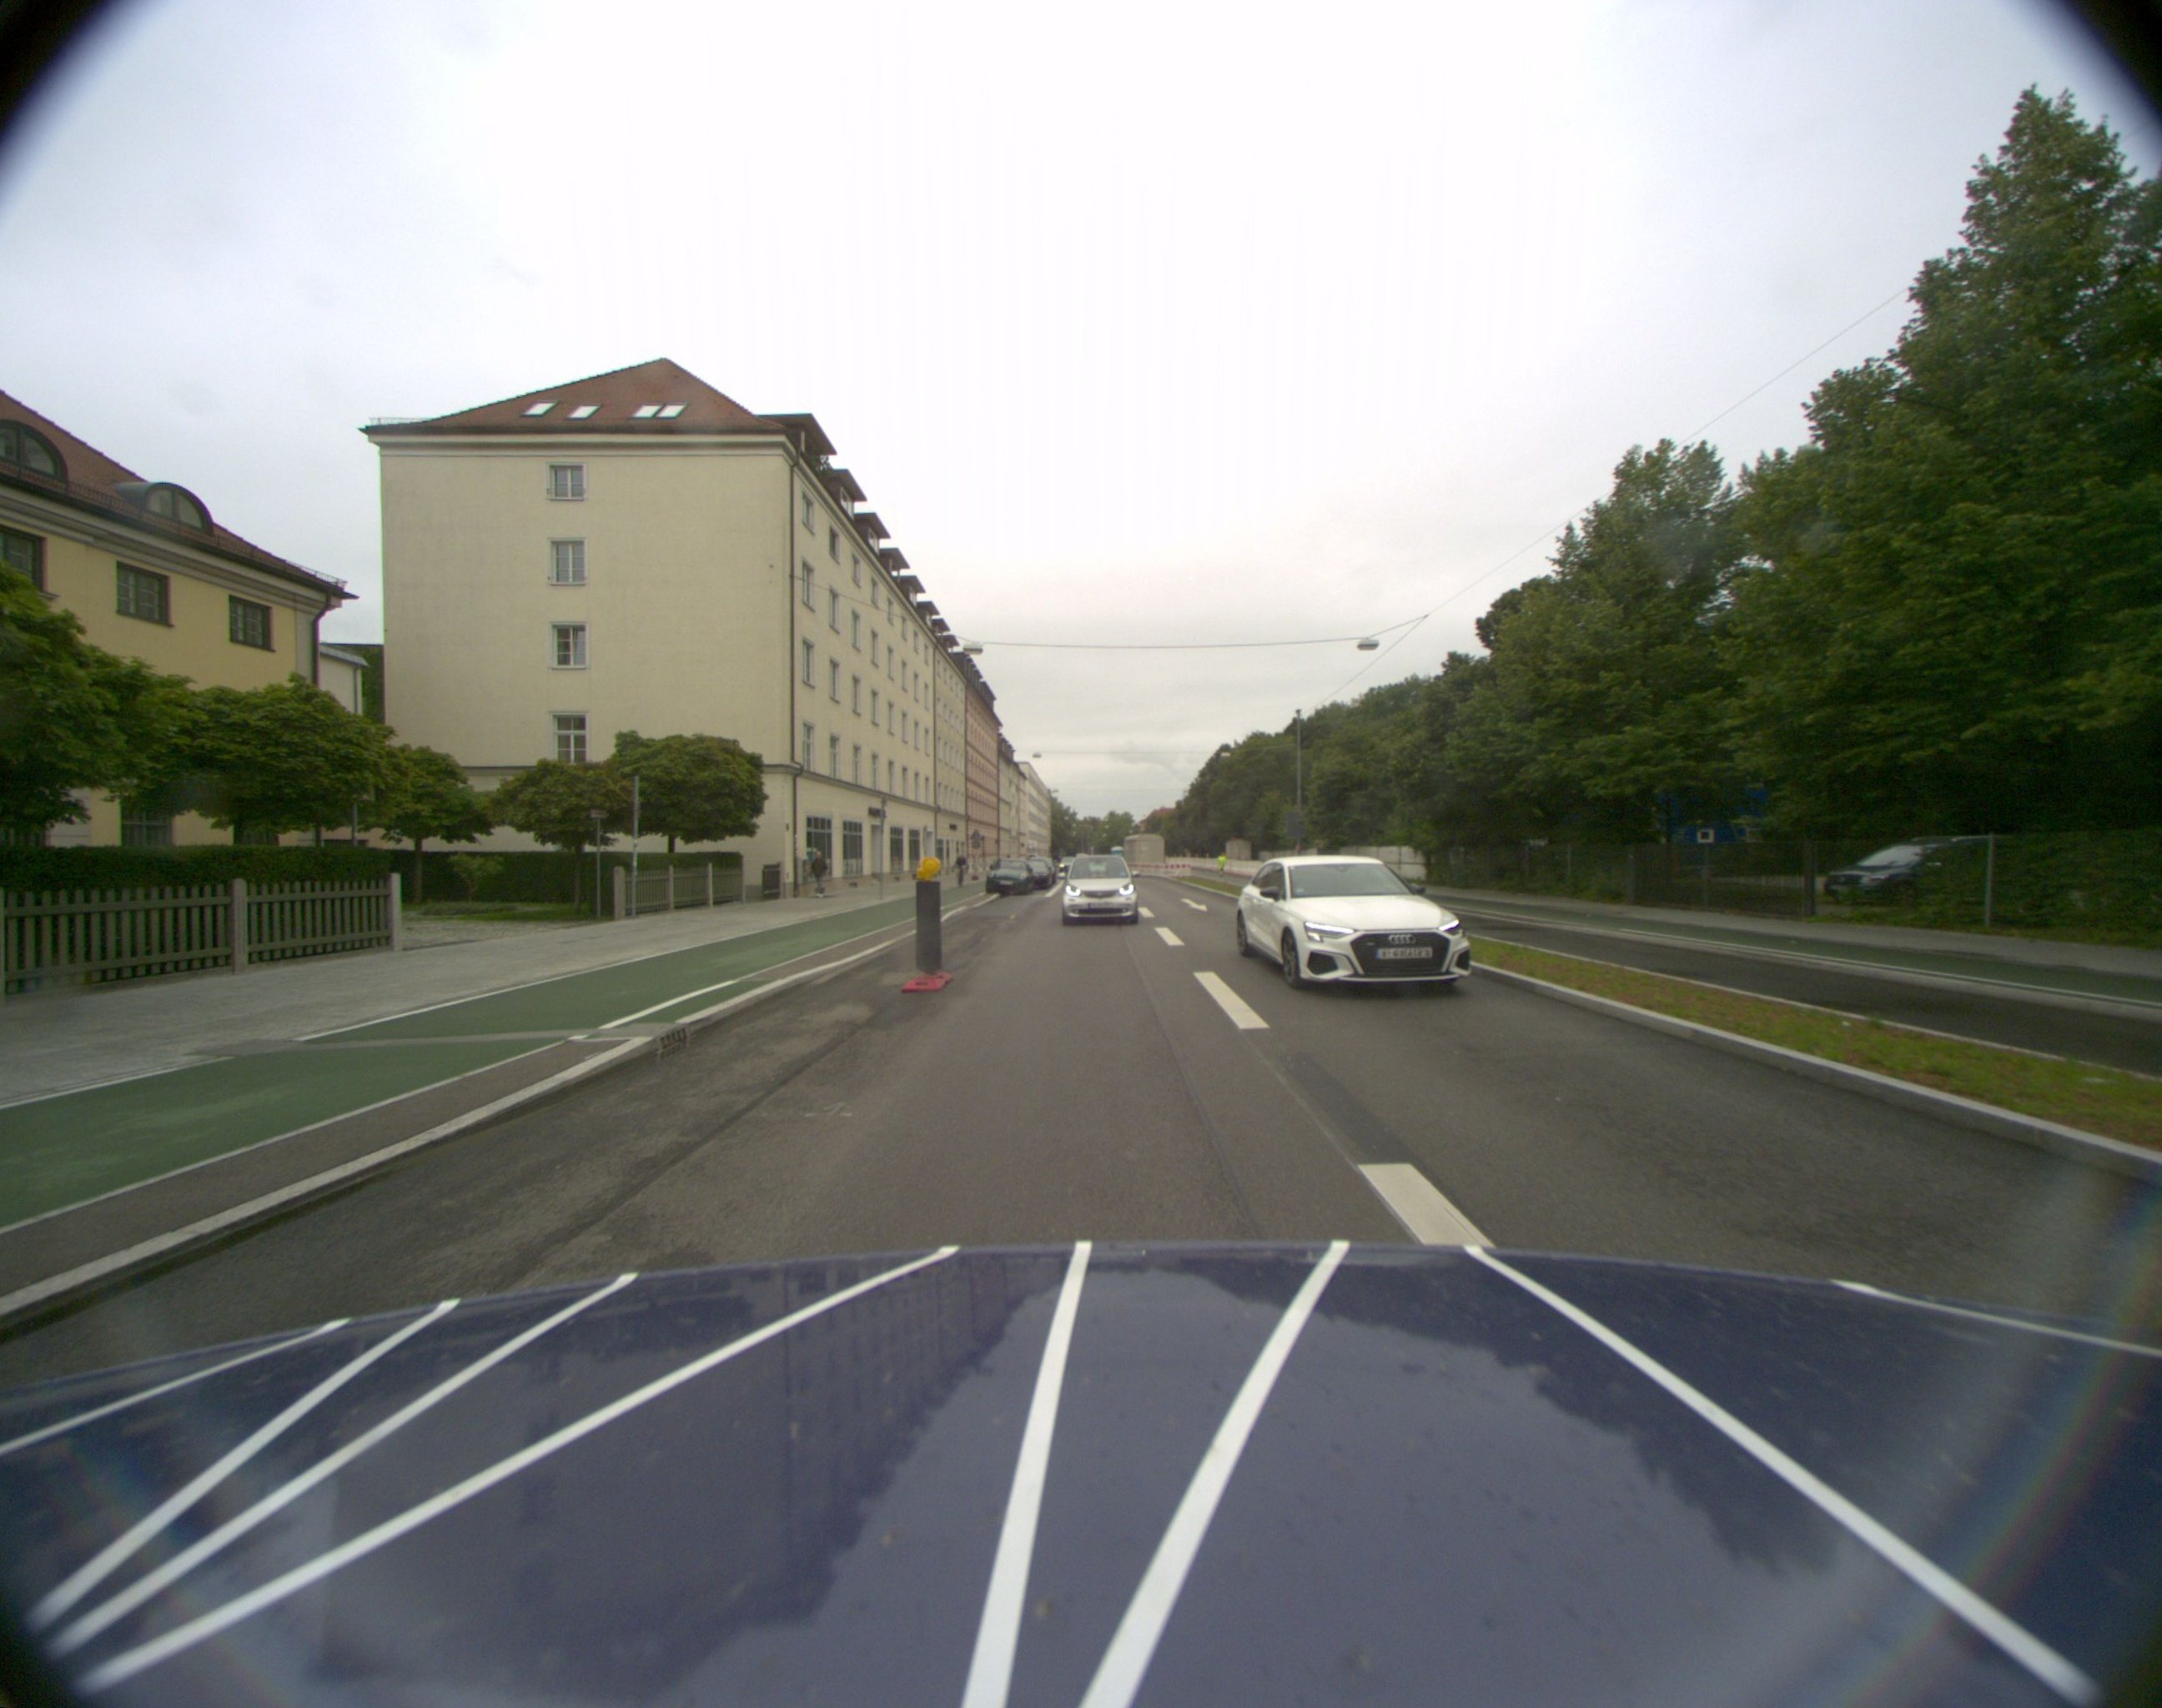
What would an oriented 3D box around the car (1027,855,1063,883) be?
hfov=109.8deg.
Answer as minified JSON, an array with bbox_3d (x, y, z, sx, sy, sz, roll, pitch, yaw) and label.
[{"bbox_3d":[-1.996,0.820,43.088,1.739,1.425,4.000,-1,0,1],"label":"car"}]

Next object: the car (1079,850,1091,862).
[{"bbox_3d":[0.680,0.384,128.620,1.998,2.002,4.000,0,0,1],"label":"car"}]

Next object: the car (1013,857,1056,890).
[{"bbox_3d":[-2.213,0.889,36.777,1.739,1.425,4.000,-1,0,1],"label":"car"}]

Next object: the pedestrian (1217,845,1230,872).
[{"bbox_3d":[10.811,0.345,57.562,0.757,2.002,0.867,-2,1,1],"label":"pedestrian"}]

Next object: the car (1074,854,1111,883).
[{"bbox_3d":[0.634,0.770,42.585,1.922,1.433,4.306,-2,0,1],"label":"car"}]

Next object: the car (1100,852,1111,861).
[{"bbox_3d":[3.912,0.415,122.542,1.739,1.425,4.000,-1,0,1],"label":"car"}]

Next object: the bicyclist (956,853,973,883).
[{"bbox_3d":[-6.007,0.710,39.243,0.724,1.543,0.858,-2,1,1],"label":"bicyclist"}]

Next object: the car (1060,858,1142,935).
[{"bbox_3d":[0.449,0.878,17.507,1.633,1.494,4.000,-1,0,1],"label":"car"}]

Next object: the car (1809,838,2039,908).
[{"bbox_3d":[23.096,0.502,20.976,4.036,1.700,1.875,-2,3,5],"label":"car"}]

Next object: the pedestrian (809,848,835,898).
[{"bbox_3d":[-9.722,0.695,28.529,0.655,1.863,0.826,1,1,1],"label":"pedestrian"}]

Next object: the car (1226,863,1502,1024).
[{"bbox_3d":[3.131,0.882,9.494,1.817,1.416,4.452,-2,0,1],"label":"car"}]

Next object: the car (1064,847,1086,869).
[{"bbox_3d":[-0.539,0.327,69.827,1.998,2.002,4.000,0,0,0],"label":"car"}]

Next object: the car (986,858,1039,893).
[{"bbox_3d":[-2.772,0.854,31.566,1.739,1.313,4.000,-1,0,1],"label":"car"}]

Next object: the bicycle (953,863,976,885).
[{"bbox_3d":[-5.998,1.032,39.304,0.751,1.026,2.531,-2,0,1],"label":"bicycle"}]
